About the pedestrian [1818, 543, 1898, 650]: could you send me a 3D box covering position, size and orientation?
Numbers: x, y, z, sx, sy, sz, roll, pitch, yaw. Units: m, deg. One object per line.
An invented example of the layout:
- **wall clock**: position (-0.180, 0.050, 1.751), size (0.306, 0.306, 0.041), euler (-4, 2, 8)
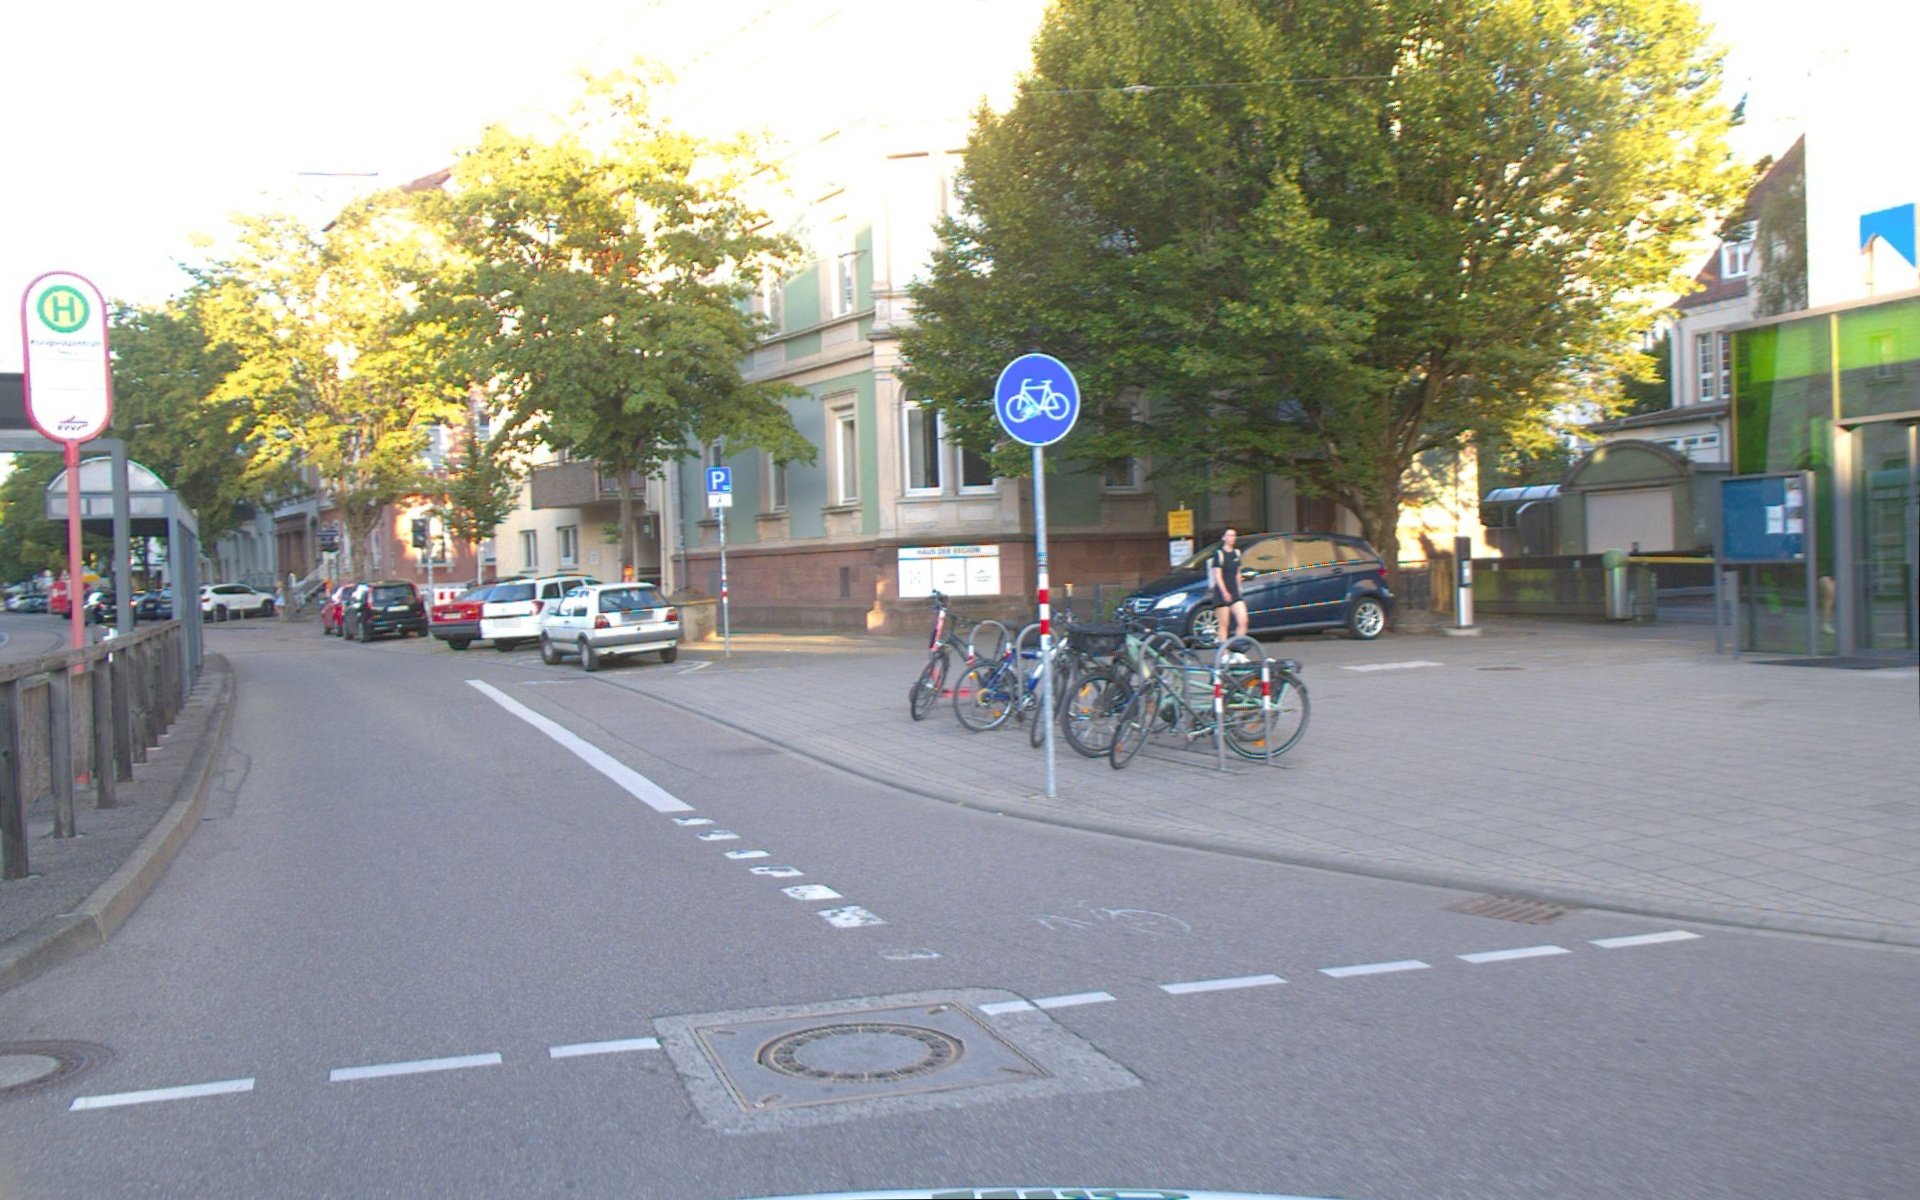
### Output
- **pedestrian**: position (10.672, -0.043, 19.665), size (0.534, 1.229, 0.612), euler (-2, 1, -20)

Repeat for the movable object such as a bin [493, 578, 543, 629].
- **movable object such as a bin**: position (-13.751, 0.109, 51.468), size (1.131, 1.528, 1.255), euler (-2, 1, -34)

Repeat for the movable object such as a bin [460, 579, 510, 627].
- **movable object such as a bin**: position (-15.679, 0.082, 54.549), size (1.130, 1.528, 1.579), euler (-2, 1, -34)

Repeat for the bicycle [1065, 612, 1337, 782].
- **bicycle**: position (1.736, 0.690, 12.100), size (1.823, 1.093, 0.744), euler (-3, 1, -3)

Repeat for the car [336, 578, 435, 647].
- **car**: position (-15.753, 0.325, 45.254), size (1.726, 1.660, 4.046), euler (-5, 2, -30)

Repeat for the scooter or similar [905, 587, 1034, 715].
- **scooter or similar**: position (0.097, 0.523, 17.597), size (1.183, 1.246, 0.587), euler (-4, 2, -20)

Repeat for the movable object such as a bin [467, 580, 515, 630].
- **movable object such as a bin**: position (-14.888, 0.155, 52.467), size (1.063, 1.528, 1.302), euler (-2, 1, -36)

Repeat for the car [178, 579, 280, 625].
- **car**: position (-32.453, 0.062, 73.556), size (1.636, 1.654, 3.954), euler (-2, 4, 26)

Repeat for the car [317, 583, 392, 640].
- **car**: position (-18.483, 0.321, 50.418), size (1.548, 1.562, 3.658), euler (-5, 2, -28)

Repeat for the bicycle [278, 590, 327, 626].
- **bicycle**: position (-25.597, 0.314, 64.405), size (0.587, 1.288, 1.919), euler (-2, 1, 21)

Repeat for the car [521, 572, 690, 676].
- **car**: position (-6.394, 0.393, 29.558), size (1.664, 1.579, 3.958), euler (-6, 3, -31)

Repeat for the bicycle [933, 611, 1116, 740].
- **bicycle**: position (0.599, 0.681, 15.441), size (1.528, 1.093, 0.740), euler (-2, 1, -19)

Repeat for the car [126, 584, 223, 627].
- **car**: position (-37.941, 0.253, 79.974), size (1.856, 1.697, 3.958), euler (-4, 3, 19)

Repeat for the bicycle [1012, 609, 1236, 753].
- **bicycle**: position (1.389, 0.659, 14.055), size (1.729, 1.093, 0.740), euler (-2, 1, -19)

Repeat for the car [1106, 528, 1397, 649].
- **car**: position (4.347, -0.211, 24.698), size (3.927, 1.601, 1.792), euler (-2, 2, -21)

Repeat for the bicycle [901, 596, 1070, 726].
- **bicycle**: position (0.250, 0.583, 16.458), size (1.503, 1.183, 0.740), euler (-2, 1, -19)

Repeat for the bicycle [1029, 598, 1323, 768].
- **bicycle**: position (1.727, 0.625, 13.193), size (2.197, 1.151, 0.740), euler (-3, 1, -19)

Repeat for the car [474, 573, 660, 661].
- **car**: position (-8.448, 0.320, 35.914), size (1.682, 1.755, 4.208), euler (0, 1, 25)

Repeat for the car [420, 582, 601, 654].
- **car**: position (-10.231, 0.381, 37.952), size (1.608, 1.479, 4.206), euler (-1, 1, 26)

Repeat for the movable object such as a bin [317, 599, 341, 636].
- **movable object such as a bin**: position (-20.889, 0.575, 54.751), size (0.702, 1.173, 0.584), euler (-2, 1, -22)

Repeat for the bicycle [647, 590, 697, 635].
- **bicycle**: position (-7.271, 0.303, 41.698), size (0.645, 1.093, 1.538), euler (-2, 1, -34)

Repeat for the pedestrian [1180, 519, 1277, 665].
- **pedestrian**: position (3.432, -0.106, 21.149), size (0.701, 1.798, 0.977), euler (-2, 1, -35)

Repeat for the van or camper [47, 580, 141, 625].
- **van or camper**: position (-59.295, 0.159, 113.402), size (2.037, 2.573, 5.552), euler (-4, 3, 22)
